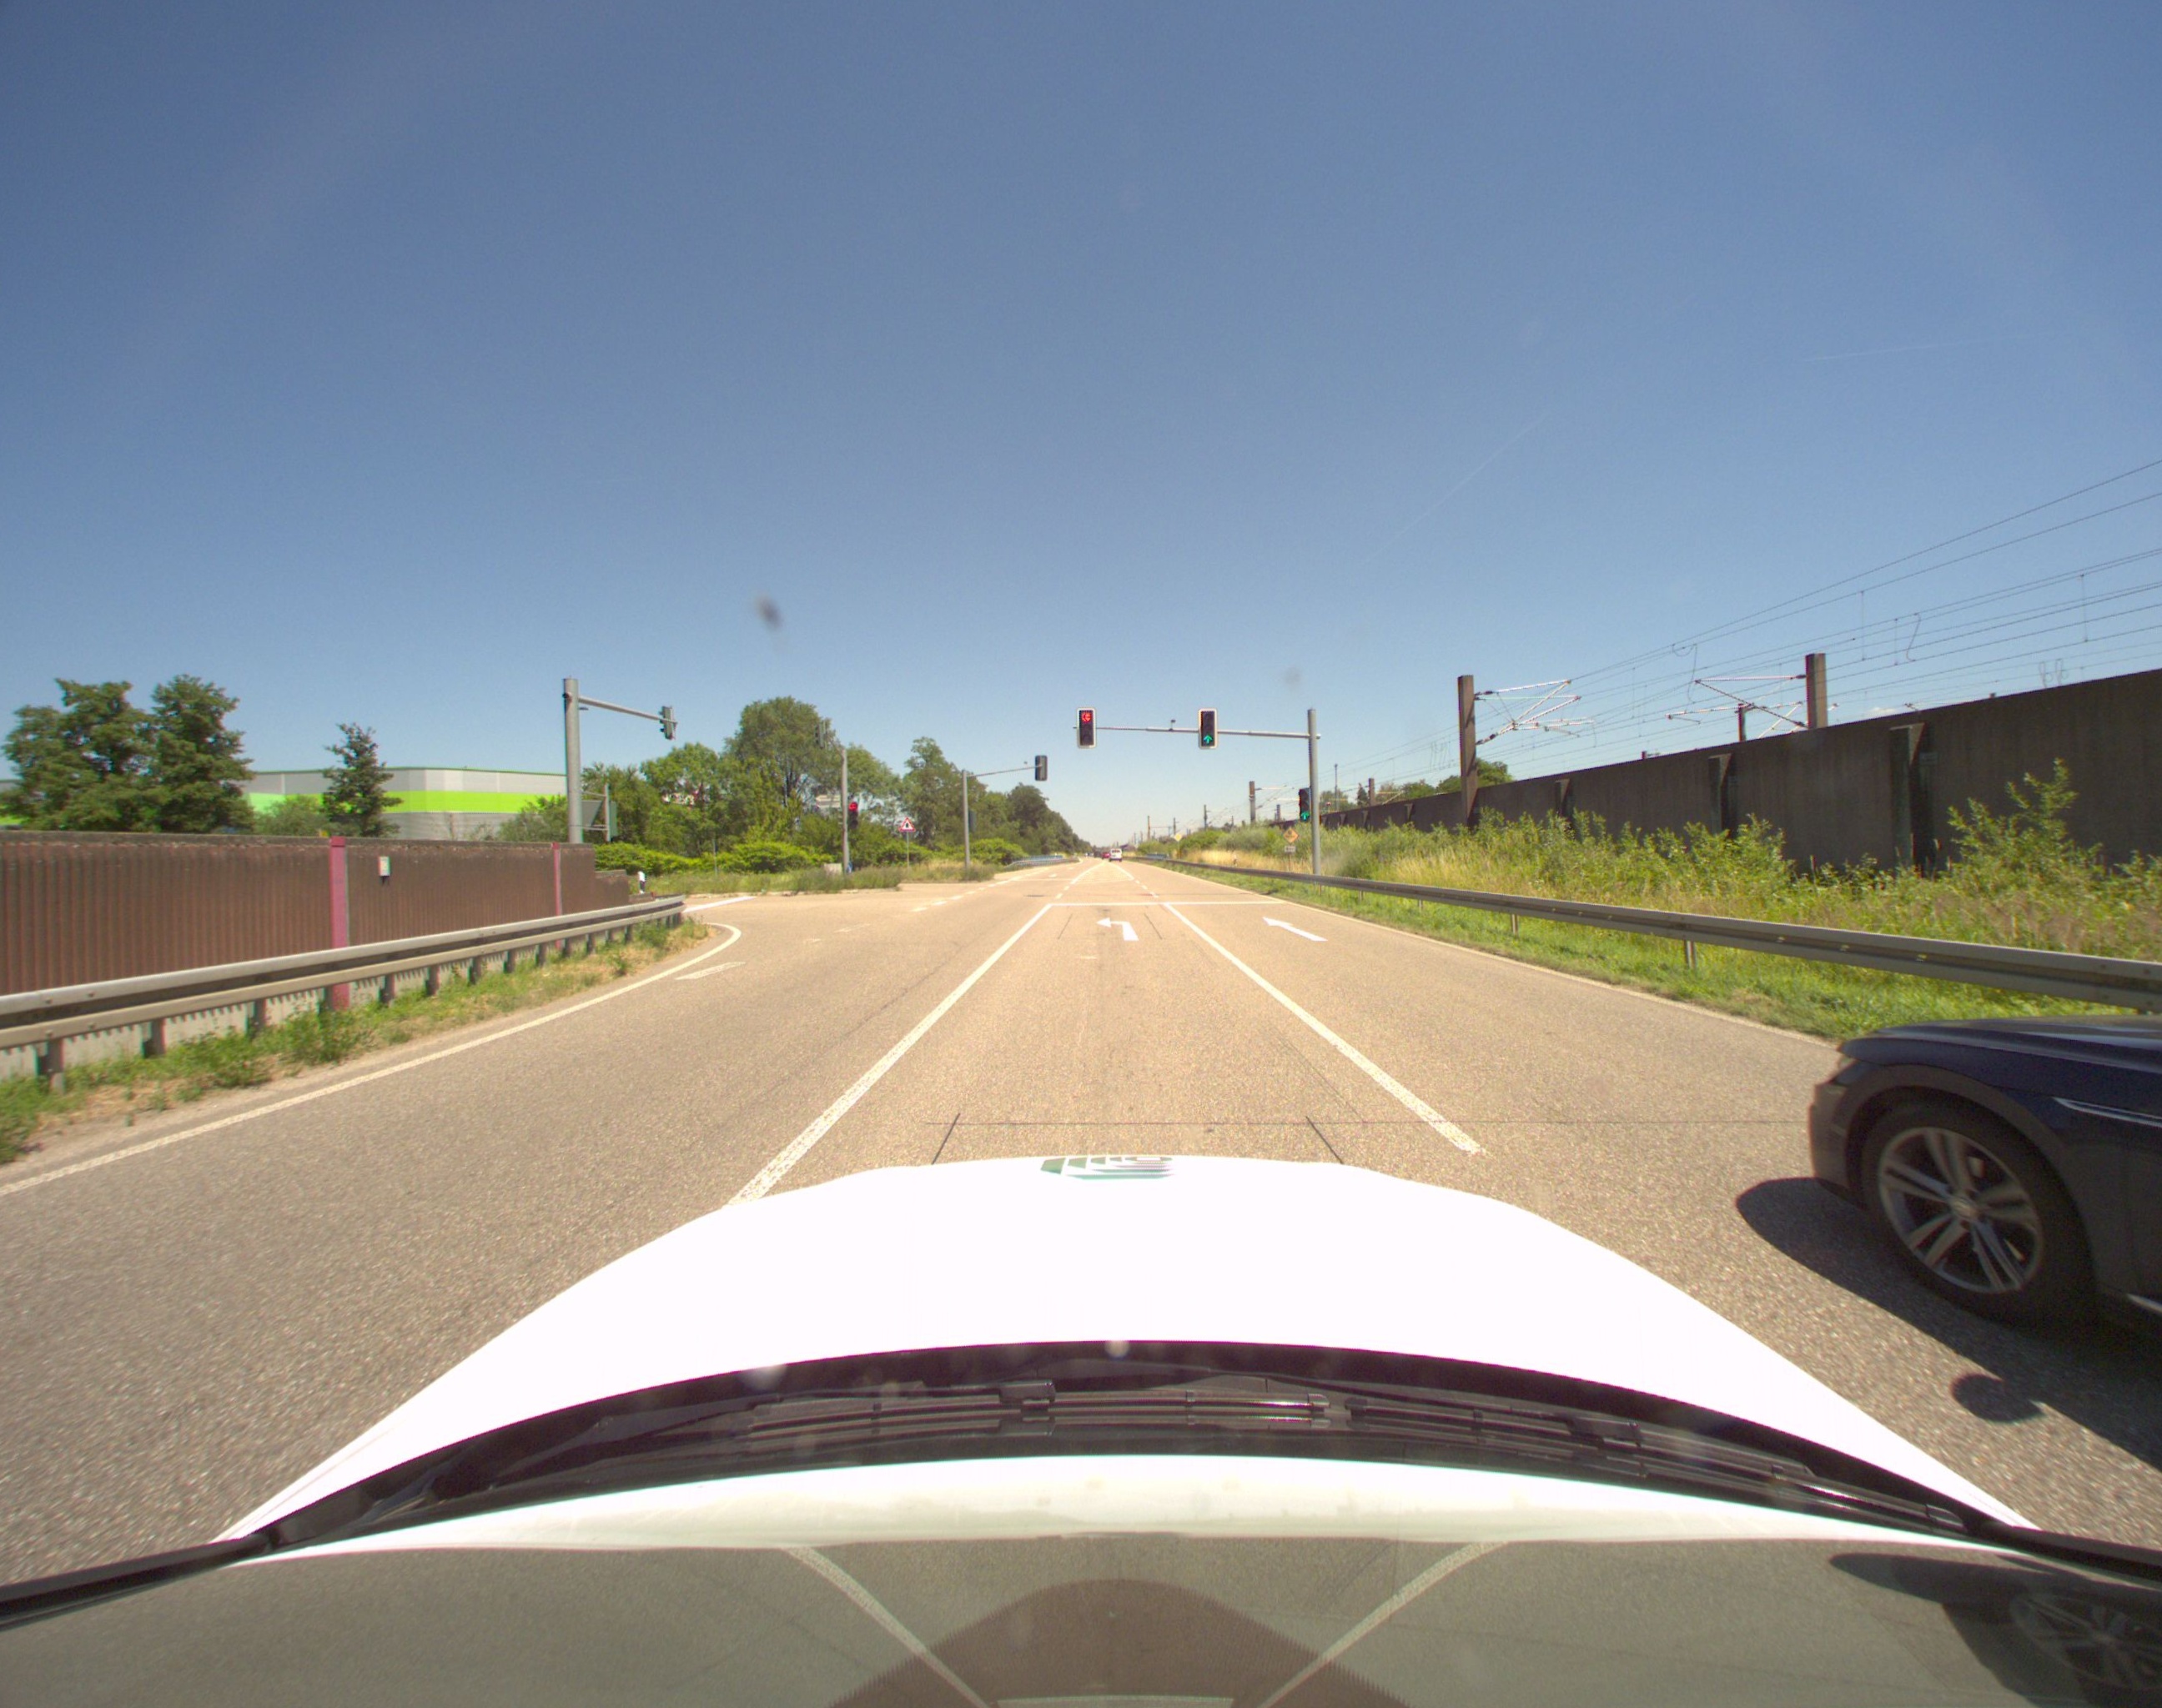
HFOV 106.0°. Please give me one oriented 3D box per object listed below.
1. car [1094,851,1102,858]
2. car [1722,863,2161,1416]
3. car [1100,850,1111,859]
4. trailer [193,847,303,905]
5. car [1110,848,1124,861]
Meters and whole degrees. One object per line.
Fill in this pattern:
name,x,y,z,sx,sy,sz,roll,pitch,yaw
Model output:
car,4.752,0.222,226.152,2.148,1.968,4.542,-1,0,0
car,3.634,0.741,1.297,1.849,1.379,4.506,0,0,2
car,5.044,0.127,169.154,2.013,1.726,4.542,-1,0,0
trailer,-42.017,1.047,41.196,3.780,2.764,1.804,-1,0,-45
car,5.452,0.101,124.259,1.987,1.983,4.060,0,0,0
